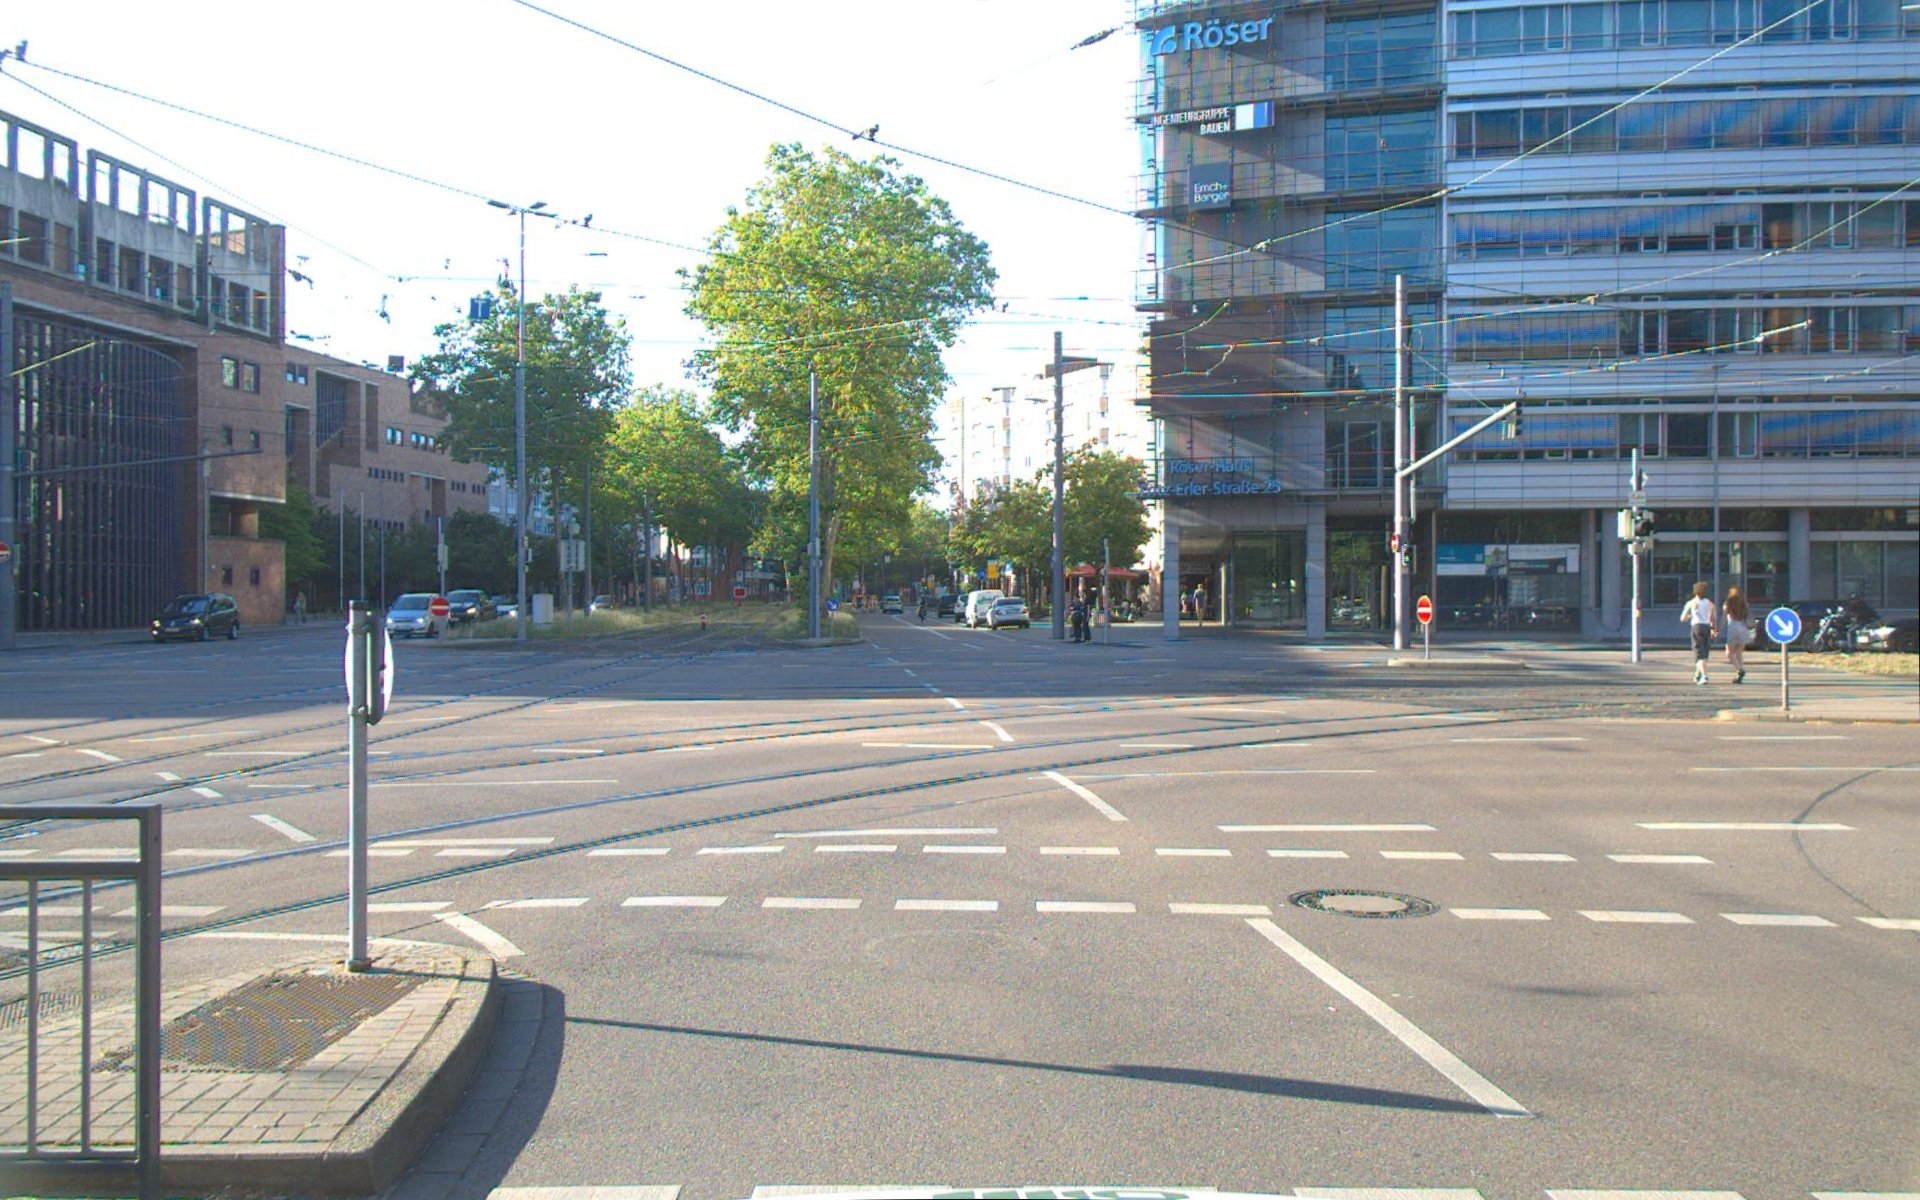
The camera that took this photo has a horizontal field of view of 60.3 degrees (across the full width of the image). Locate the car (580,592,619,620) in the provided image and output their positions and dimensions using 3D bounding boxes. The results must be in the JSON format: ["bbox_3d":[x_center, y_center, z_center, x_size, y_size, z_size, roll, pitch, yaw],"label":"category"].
[{"bbox_3d":[-24.700,0.401,113.396,1.807,1.814,3.999,-1,0,-1],"label":"car"}]

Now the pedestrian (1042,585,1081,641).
[{"bbox_3d":[3.641,0.472,59.326,1.315,1.984,1.011,0,-1,-1],"label":"pedestrian"}]

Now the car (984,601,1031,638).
[{"bbox_3d":[2.186,0.897,76.816,1.988,1.624,3.999,1,0,-1],"label":"car"}]

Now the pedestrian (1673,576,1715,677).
[{"bbox_3d":[13.229,0.474,29.816,0.663,1.789,0.741,0,0,24],"label":"pedestrian"}]

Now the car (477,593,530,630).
[{"bbox_3d":[-21.098,0.534,76.576,1.643,1.635,3.995,1,0,-5],"label":"car"}]

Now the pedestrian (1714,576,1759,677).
[{"bbox_3d":[13.984,0.467,29.802,0.669,1.789,0.742,0,0,21],"label":"pedestrian"}]

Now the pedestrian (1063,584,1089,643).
[{"bbox_3d":[4.098,0.476,58.402,0.832,2.049,0.707,1,-1,-2],"label":"pedestrian"}]

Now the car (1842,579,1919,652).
[{"bbox_3d":[24.417,0.365,40.946,4.165,1.753,1.885,0,0,2],"label":"car"}]

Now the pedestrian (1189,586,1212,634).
[{"bbox_3d":[10.426,0.418,71.711,0.852,2.049,0.793,1,-2,-1],"label":"pedestrian"}]

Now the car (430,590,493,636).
[{"bbox_3d":[-20.631,0.516,68.613,1.787,1.821,3.994,0,0,-6],"label":"car"}]

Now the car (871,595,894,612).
[{"bbox_3d":[-6.717,0.292,143.481,1.711,1.443,4.001,1,1,2],"label":"car"}]

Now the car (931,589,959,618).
[{"bbox_3d":[-1.097,0.243,120.705,1.953,2.049,3.999,1,0,-1],"label":"car"}]

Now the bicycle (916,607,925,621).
[{"bbox_3d":[-2.306,0.802,96.025,0.480,0.802,1.861,1,0,0],"label":"bicycle"}]

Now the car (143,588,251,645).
[{"bbox_3d":[-28.441,0.577,61.791,1.837,2.049,4.472,0,0,2],"label":"car"}]

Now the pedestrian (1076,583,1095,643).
[{"bbox_3d":[4.382,0.451,57.695,0.574,2.049,0.620,1,-1,0],"label":"pedestrian"}]

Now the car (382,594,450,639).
[{"bbox_3d":[-20.064,0.577,61.164,1.590,1.604,3.994,0,0,-6],"label":"car"}]

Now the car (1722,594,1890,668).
[{"bbox_3d":[24.807,0.892,48.605,3.905,2.049,2.000,1,-1,0],"label":"car"}]

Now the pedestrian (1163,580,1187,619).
[{"bbox_3d":[12.460,-0.012,95.868,1.285,2.228,1.171,1,-1,6],"label":"pedestrian"}]

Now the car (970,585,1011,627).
[{"bbox_3d":[1.514,0.297,83.554,1.953,2.049,3.999,1,0,-1],"label":"car"}]

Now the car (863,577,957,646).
[{"bbox_3d":[-1.625,0.317,52.037,1.962,2.049,4.173,0,1,-17],"label":"car"}]

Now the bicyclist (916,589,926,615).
[{"bbox_3d":[-2.263,0.130,95.881,0.477,1.464,0.615,4,0,-1],"label":"bicyclist"}]

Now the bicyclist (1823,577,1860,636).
[{"bbox_3d":[23.310,0.165,43.734,0.649,1.529,0.613,0,0,5],"label":"bicyclist"}]

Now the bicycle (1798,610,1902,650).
[{"bbox_3d":[23.516,0.798,43.733,2.359,1.040,0.637,0,0,4],"label":"bicycle"}]
